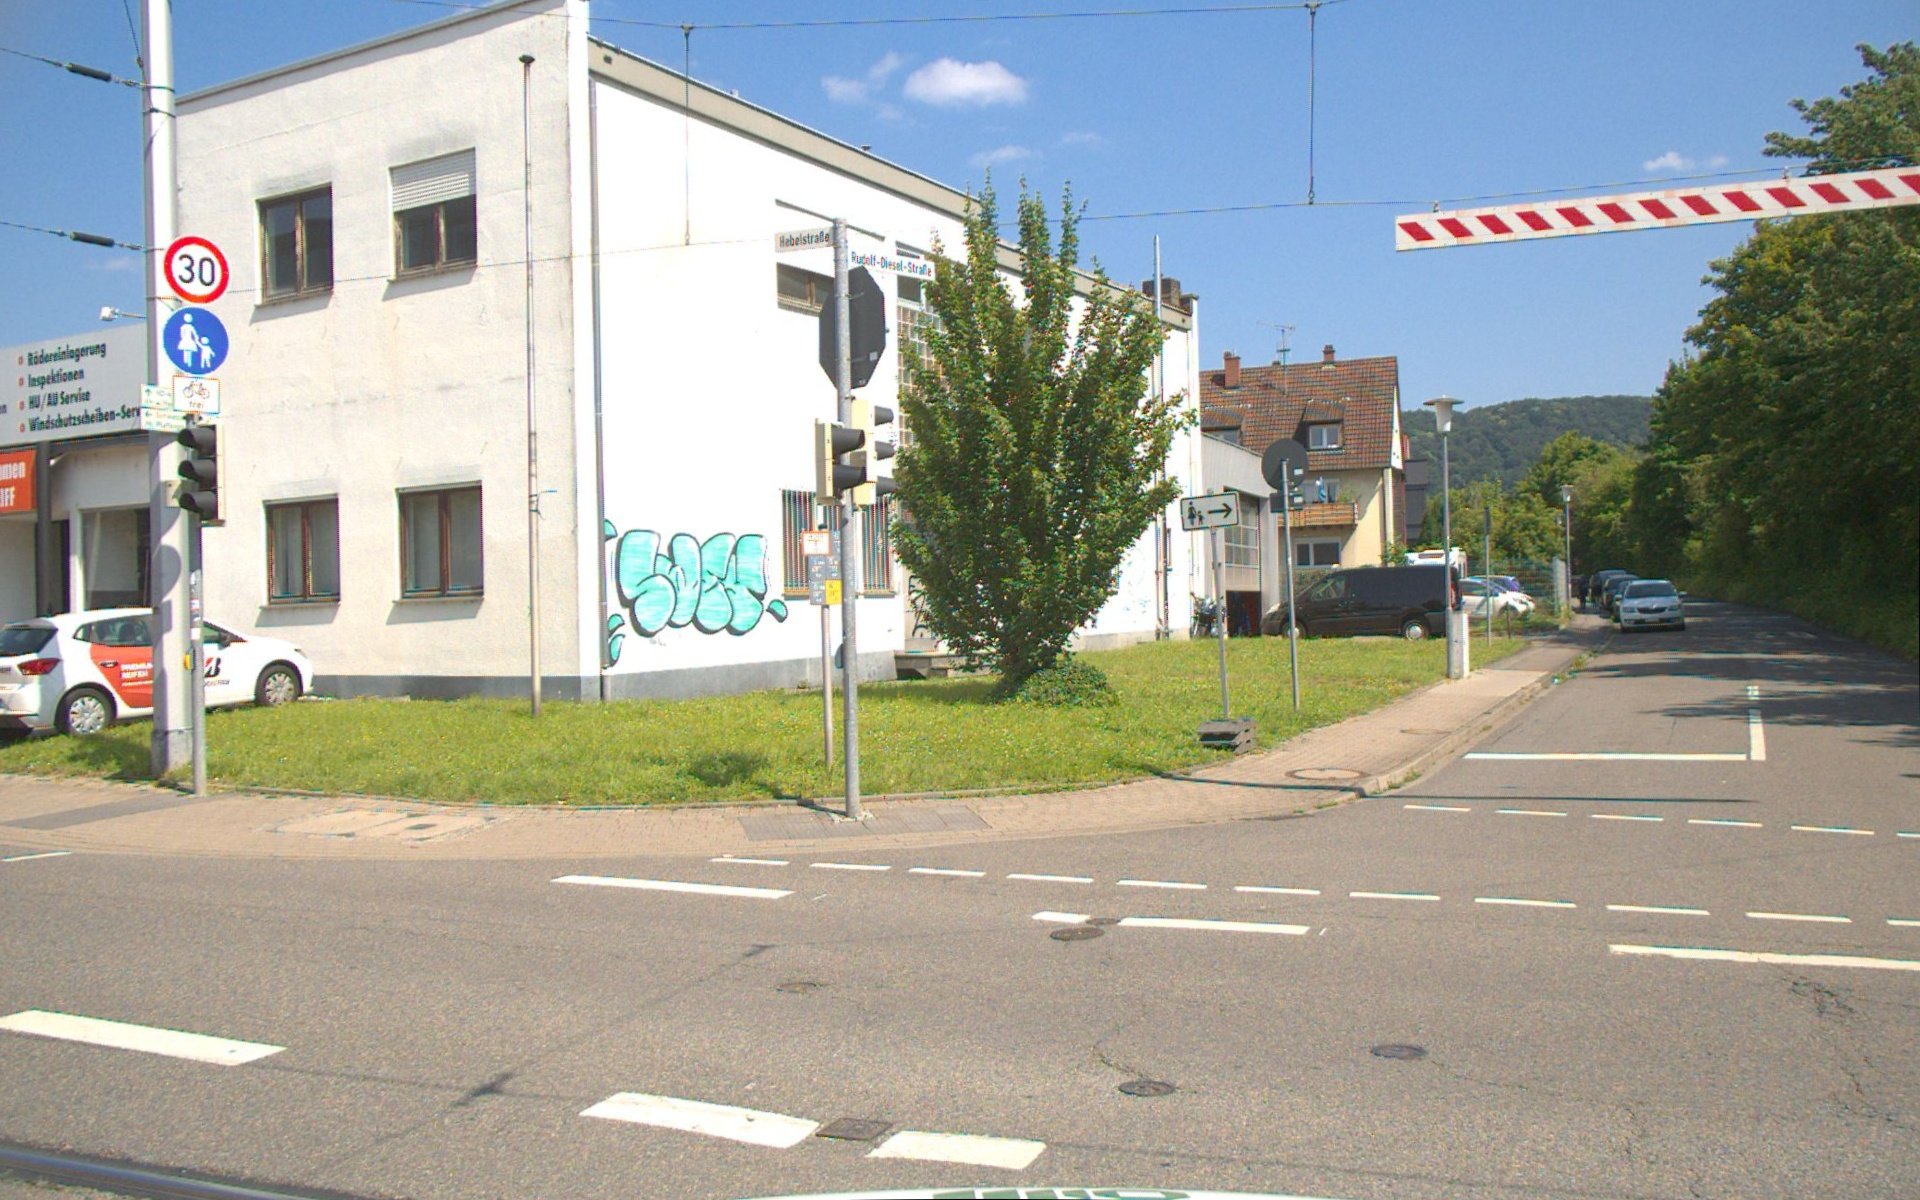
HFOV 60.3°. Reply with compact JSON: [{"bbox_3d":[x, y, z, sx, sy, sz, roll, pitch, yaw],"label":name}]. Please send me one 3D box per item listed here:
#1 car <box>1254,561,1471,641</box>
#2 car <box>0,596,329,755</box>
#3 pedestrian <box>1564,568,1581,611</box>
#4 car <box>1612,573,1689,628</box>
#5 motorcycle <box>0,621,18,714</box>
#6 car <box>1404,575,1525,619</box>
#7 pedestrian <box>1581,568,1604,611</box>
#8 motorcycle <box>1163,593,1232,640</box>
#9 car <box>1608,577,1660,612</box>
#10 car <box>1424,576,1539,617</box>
[{"bbox_3d":[10.319,0.043,42.417,5.141,1.848,2.000,-2,-1,23],"label":"car"},{"bbox_3d":[-10.008,0.840,20.202,1.848,1.487,3.995,-2,3,29],"label":"car"},{"bbox_3d":[25.809,-0.444,69.686,0.640,1.794,0.803,0,-1,23],"label":"pedestrian"},{"bbox_3d":[20.669,-0.011,49.464,2.044,1.536,4.538,-1,1,23],"label":"car"},{"bbox_3d":[-14.636,1.039,23.362,0.715,1.331,2.187,-2,2,29],"label":"motorcycle"},{"bbox_3d":[16.776,-0.092,54.995,3.647,1.396,1.603,0,-1,25],"label":"car"},{"bbox_3d":[26.535,-0.441,69.358,0.858,1.794,0.730,0,-1,23],"label":"pedestrian"},{"bbox_3d":[5.609,0.405,38.926,0.835,1.050,2.564,0,-1,26],"label":"motorcycle"},{"bbox_3d":[28.431,-0.235,69.713,1.873,1.424,3.731,-1,1,24],"label":"car"},{"bbox_3d":[18.081,-0.122,57.368,3.647,1.395,1.603,0,-1,25],"label":"car"}]
